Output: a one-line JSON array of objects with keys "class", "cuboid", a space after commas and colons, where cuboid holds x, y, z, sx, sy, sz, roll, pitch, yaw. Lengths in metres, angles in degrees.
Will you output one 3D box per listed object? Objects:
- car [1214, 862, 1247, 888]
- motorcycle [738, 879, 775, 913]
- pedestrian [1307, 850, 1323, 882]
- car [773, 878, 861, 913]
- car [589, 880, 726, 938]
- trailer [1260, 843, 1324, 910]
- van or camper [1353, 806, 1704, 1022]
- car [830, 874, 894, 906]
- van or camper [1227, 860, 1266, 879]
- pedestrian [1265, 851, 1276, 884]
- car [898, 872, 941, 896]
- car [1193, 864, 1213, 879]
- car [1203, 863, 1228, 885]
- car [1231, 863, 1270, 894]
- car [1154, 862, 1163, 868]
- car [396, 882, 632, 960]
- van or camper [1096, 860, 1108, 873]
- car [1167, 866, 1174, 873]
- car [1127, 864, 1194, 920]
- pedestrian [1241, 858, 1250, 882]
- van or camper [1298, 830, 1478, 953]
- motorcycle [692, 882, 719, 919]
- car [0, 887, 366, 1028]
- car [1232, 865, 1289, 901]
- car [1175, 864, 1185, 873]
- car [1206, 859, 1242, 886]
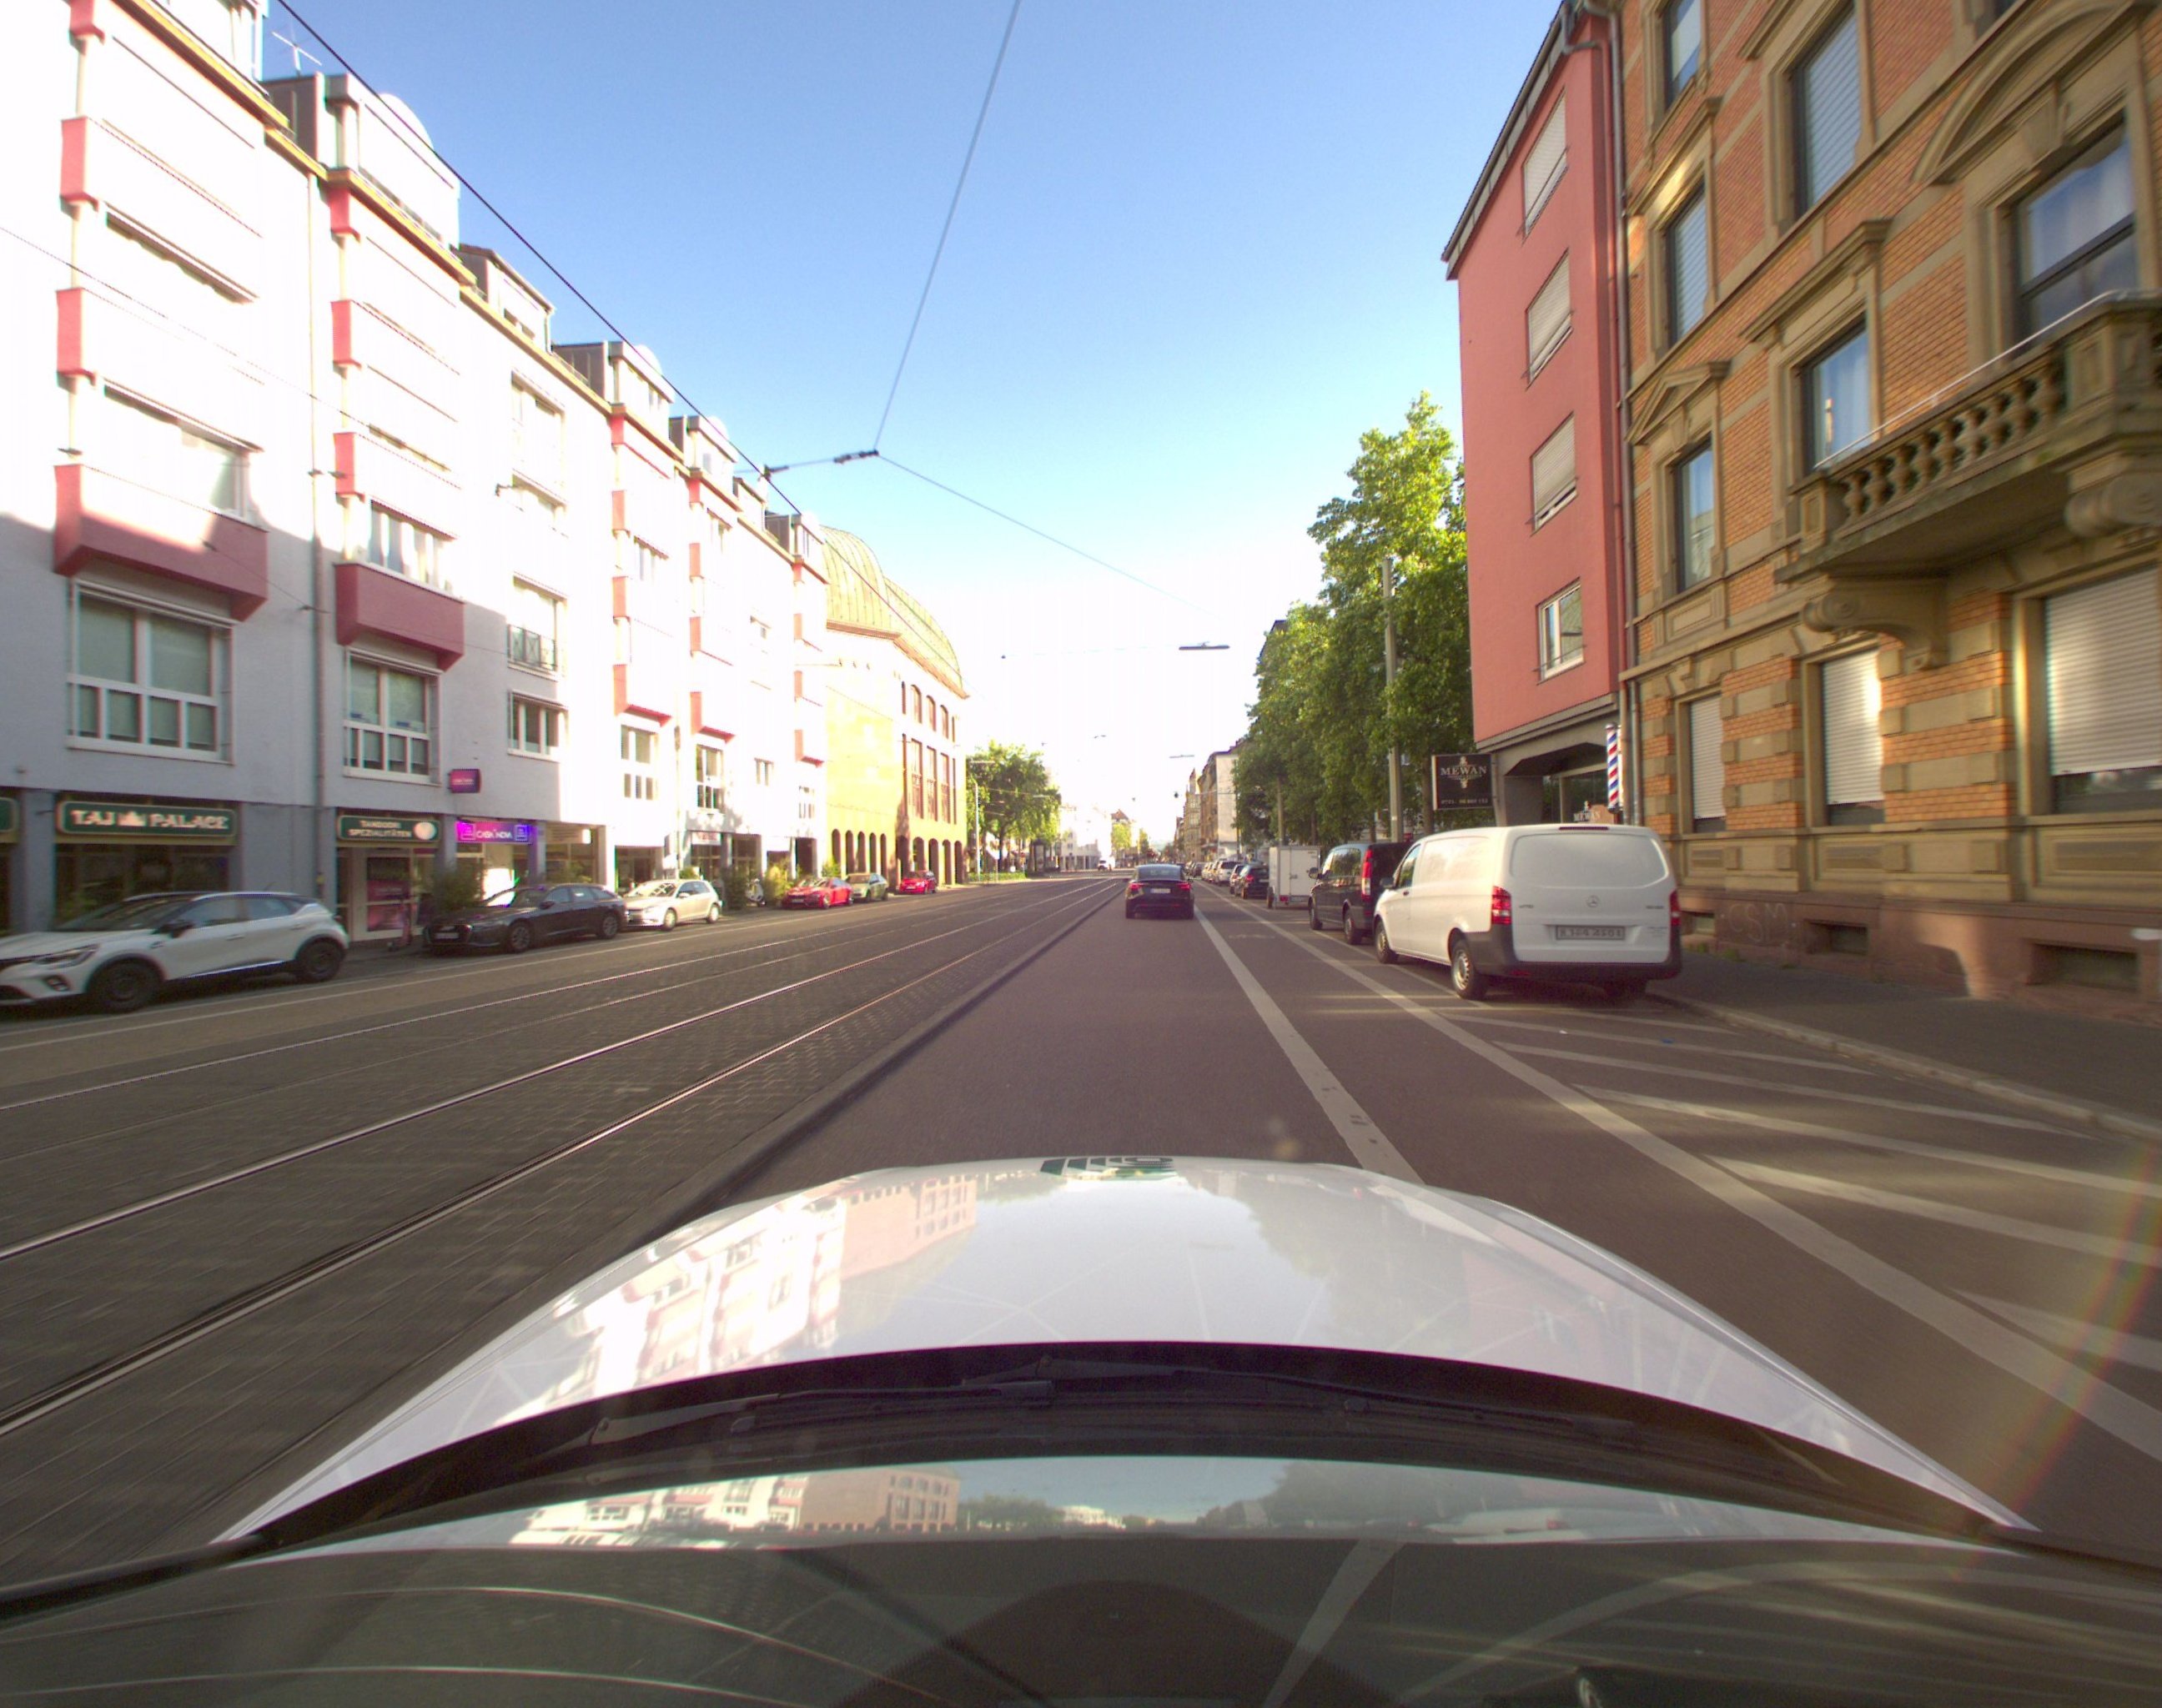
[{"class": "car", "cuboid": [9.556, 1.324, 52.263, 1.706, 1.590, 4.070, 0, 0, 4]}, {"class": "motorcycle", "cuboid": [-13.200, 1.703, 33.200, 0.516, 1.297, 2.085, 0, 0, 5]}, {"class": "pedestrian", "cuboid": [14.263, 0.715, 49.637, 0.664, 1.897, 0.750, -5, -2, 10]}, {"class": "car", "cuboid": [-11.457, 1.754, 35.773, 1.951, 1.325, 4.826, 0, -1, 4]}, {"class": "car", "cuboid": [-12.633, 1.593, 24.609, 1.744, 1.475, 4.210, -1, -1, 3]}, {"class": "trailer", "cuboid": [7.133, 0.737, 27.834, 1.652, 2.117, 3.850, 0, -1, 7]}, {"class": "van or camper", "cuboid": [5.159, 0.620, 10.505, 1.922, 2.037, 5.482, 0, -1, 5]}, {"class": "car", "cuboid": [-10.928, 1.764, 40.953, 1.661, 1.468, 4.296, 0, -1, 5]}, {"class": "van or camper", "cuboid": [20.719, 1.938, 102.141, 4.616, 2.136, 1.992, -4, -2, 9]}, {"class": "pedestrian", "cuboid": [11.284, 0.796, 48.452, 0.462, 1.954, 0.749, -5, -3, 10]}, {"class": "car", "cuboid": [-10.024, 1.854, 50.915, 1.651, 1.422, 3.625, 0, -1, 5]}, {"class": "car", "cuboid": [12.148, 1.703, 81.308, 1.702, 1.457, 4.557, 0, -1, 5]}, {"class": "car", "cuboid": [10.296, 1.516, 62.514, 1.535, 1.570, 4.447, 0, -1, 4]}, {"class": "car", "cuboid": [8.354, 1.177, 40.395, 1.739, 1.443, 4.327, -1, -1, 10]}, {"class": "car", "cuboid": [19.488, 2.803, 205.820, 1.986, 1.525, 4.001, -1, -1, 1]}, {"class": "car", "cuboid": [-13.091, 1.475, 19.282, 1.893, 1.458, 4.832, -1, -1, 5]}, {"class": "van or camper", "cuboid": [4.255, 2.533, 165.260, 2.131, 2.654, 6.885, -2, -1, 3]}, {"class": "car", "cuboid": [24.485, 4.259, 223.826, 1.836, 1.592, 4.007, -2, -1, 6]}, {"class": "car", "cuboid": [2.173, 0.981, 22.582, 1.711, 1.405, 3.714, 0, 0, 4]}, {"class": "pedestrian", "cuboid": [12.157, 1.183, 60.217, 0.607, 1.808, 0.604, -3, -1, 10]}, {"class": "van or camper", "cuboid": [5.862, 0.663, 16.342, 1.962, 2.046, 5.337, 0, -1, 4]}, {"class": "motorcycle", "cuboid": [-13.585, 1.661, 29.502, 0.461, 1.194, 2.073, 0, 0, -12]}, {"class": "car", "cuboid": [-13.809, 1.390, 12.358, 1.909, 1.614, 4.373, -1, -1, 3]}, {"class": "car", "cuboid": [7.692, 1.198, 35.300, 1.794, 1.435, 4.328, 1, -1, 4]}, {"class": "car", "cuboid": [16.044, 2.337, 131.643, 1.585, 1.433, 3.692, -2, -1, 6]}, {"class": "car", "cuboid": [10.018, 1.271, 57.187, 1.917, 1.834, 4.715, 0, 0, 3]}]
